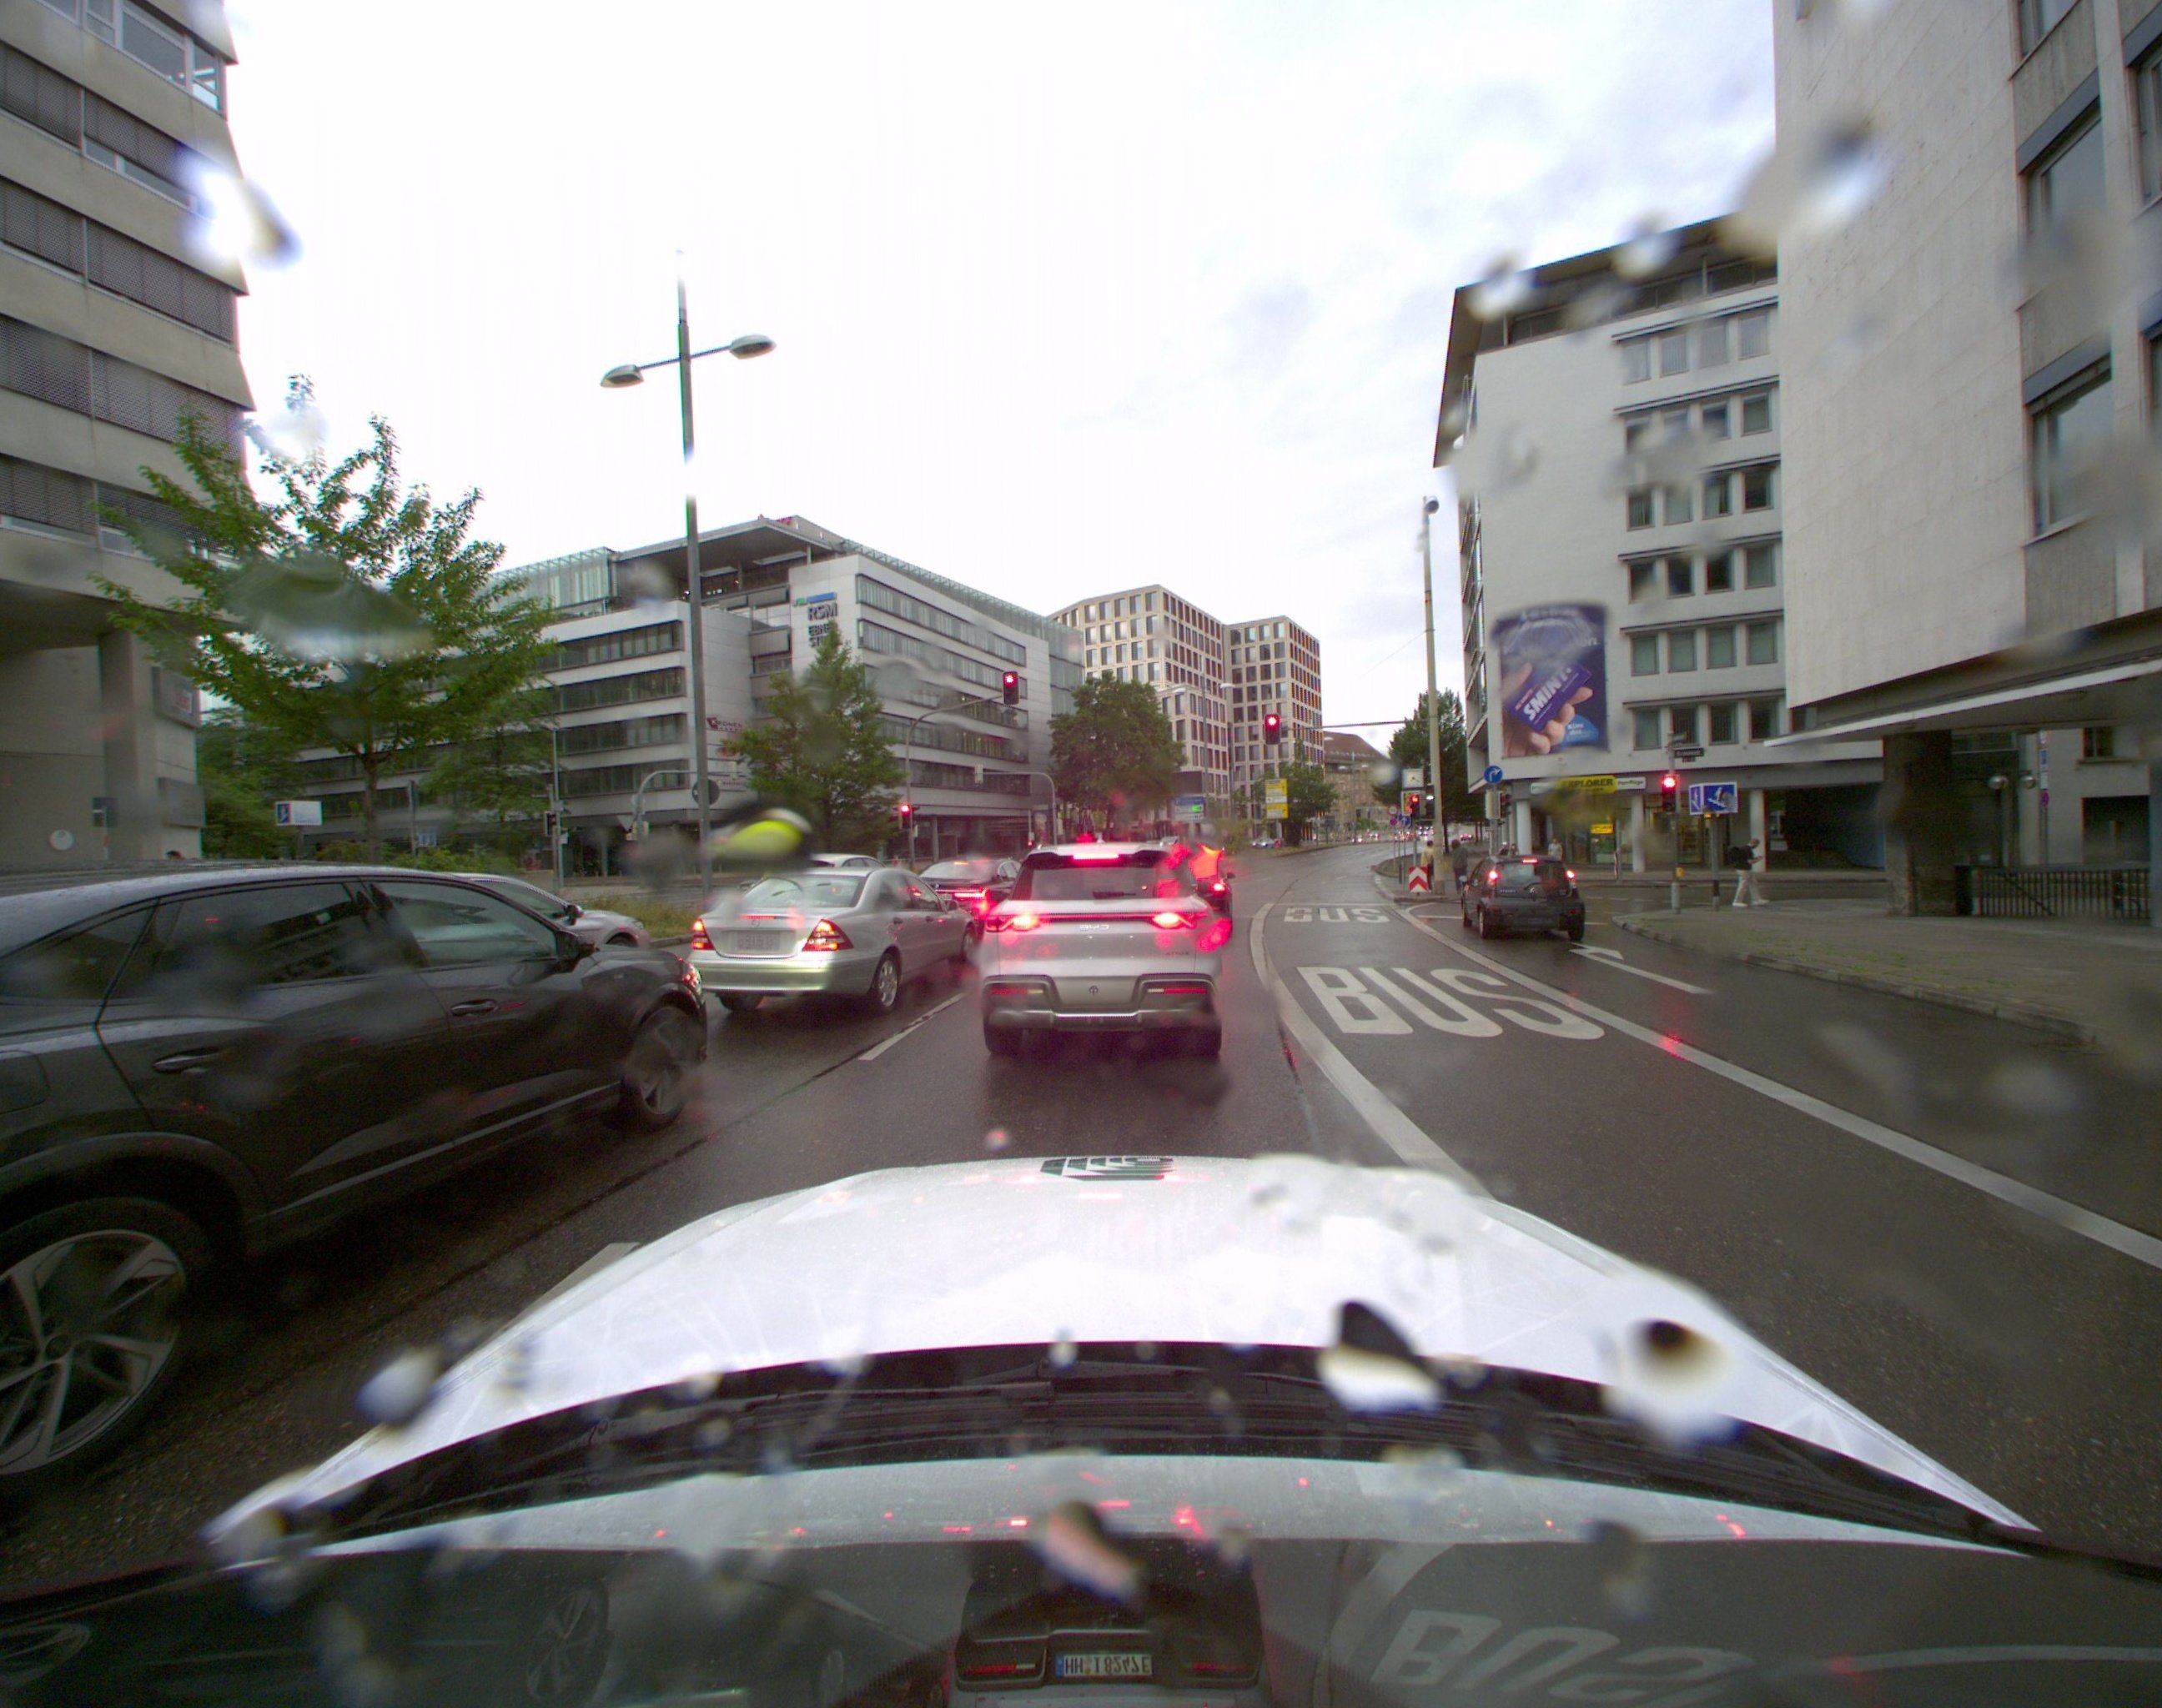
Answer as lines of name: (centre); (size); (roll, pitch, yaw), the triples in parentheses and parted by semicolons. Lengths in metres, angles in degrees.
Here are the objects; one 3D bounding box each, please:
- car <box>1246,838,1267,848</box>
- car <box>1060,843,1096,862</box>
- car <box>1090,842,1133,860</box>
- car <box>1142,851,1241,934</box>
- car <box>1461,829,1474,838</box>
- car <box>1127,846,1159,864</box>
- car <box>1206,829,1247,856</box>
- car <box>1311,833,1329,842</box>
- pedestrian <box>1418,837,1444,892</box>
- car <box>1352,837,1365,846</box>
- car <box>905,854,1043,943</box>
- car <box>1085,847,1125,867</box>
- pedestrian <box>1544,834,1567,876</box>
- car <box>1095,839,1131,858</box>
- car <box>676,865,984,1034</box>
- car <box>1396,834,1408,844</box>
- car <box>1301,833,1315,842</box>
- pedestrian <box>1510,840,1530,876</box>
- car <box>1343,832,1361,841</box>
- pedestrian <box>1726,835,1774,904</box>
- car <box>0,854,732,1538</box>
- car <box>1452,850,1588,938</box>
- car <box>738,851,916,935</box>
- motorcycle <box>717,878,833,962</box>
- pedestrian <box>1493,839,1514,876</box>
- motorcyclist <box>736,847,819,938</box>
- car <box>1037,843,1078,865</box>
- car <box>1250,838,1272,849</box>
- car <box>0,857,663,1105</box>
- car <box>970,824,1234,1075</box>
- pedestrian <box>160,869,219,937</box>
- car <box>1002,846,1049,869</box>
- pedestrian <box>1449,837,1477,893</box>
car: (26.392, -1.669, 122.624); (1.974, 1.488, 4.025); (-1, 1, 29)
car: (-0.196, -0.083, 69.553); (1.623, 1.571, 3.740); (-1, -1, 25)
car: (2.889, -0.283, 75.245); (1.796, 1.510, 5.228); (-1, 1, 29)
car: (2.378, 0.713, 16.700); (1.682, 1.486, 4.013); (-1, -1, 12)
car: (70.643, -3.698, 148.844); (1.677, 1.486, 4.025); (-1, -1, 32)
car: (6.242, 0.082, 81.290); (1.616, 1.559, 4.620); (-1, 1, 25)
car: (11.637, -0.875, 64.869); (1.975, 2.014, 4.876); (-1, -1, 25)
car: (57.511, -3.933, 195.772); (3.952, 2.013, 2.011); (-1, 0, 22)
pedestrian: (11.631, 0.338, 27.105); (0.742, 1.798, 0.821); (-1, 1, 22)
car: (50.132, -2.232, 147.105); (1.616, 1.437, 3.931); (-1, 1, 25)
car: (-1.913, 0.773, 15.743); (1.561, 1.486, 4.010); (-1, -1, 9)
car: (1.760, 0.238, 58.967); (1.675, 1.385, 3.888); (-1, -1, 21)
pedestrian: (20.565, 0.038, 35.268); (0.778, 1.794, 0.662); (-1, 0, -45)
car: (2.751, -0.465, 68.446); (1.629, 1.581, 4.109); (-1, 0, 23)
car: (-2.436, 0.841, 9.061); (1.561, 1.407, 4.120); (-1, -1, 10)
car: (58.439, -2.734, 148.123); (1.871, 1.643, 4.023); (-1, 0, 24)
car: (45.302, -3.325, 162.700); (1.590, 1.741, 3.467); (-1, -1, 34)
pedestrian: (19.393, 0.180, 35.965); (0.657, 1.543, 0.618); (-1, 0, -45)
car: (65.441, -4.243, 196.524); (3.952, 2.013, 2.011); (-1, 0, 22)
pedestrian: (17.124, 0.386, 20.853); (0.764, 1.731, 0.599); (-1, 0, 16)
car: (-3.207, 0.781, 3.225); (1.642, 1.521, 4.274); (-1, 0, 2)
car: (8.168, 0.671, 15.472); (1.558, 1.429, 4.018); (-1, -1, 18)
car: (-4.960, 0.709, 16.517); (1.696, 1.486, 4.013); (-1, -1, 11)
motorcycle: (-4.841, 1.004, 13.061); (0.795, 1.185, 2.034); (-1, -1, 11)
pedestrian: (18.924, 0.145, 36.490); (0.657, 1.655, 0.662); (-1, 0, -45)
motorcyclist: (-4.833, 0.595, 13.046); (0.765, 1.380, 1.121); (-1, -1, 11)
car: (-1.683, -0.011, 59.641); (1.630, 1.536, 4.172); (-1, 0, 19)
car: (25.568, -1.546, 115.583); (1.974, 1.488, 4.025); (-1, 1, 29)
car: (-6.159, 0.822, 7.597); (1.858, 1.533, 4.780); (-1, 0, 3)
car: (0.274, 0.659, 7.499); (1.768, 1.679, 4.004); (-1, -1, 4)
pedestrian: (-22.634, 1.224, 20.681); (0.672, 1.683, 0.766); (-1, 0, 15)
car: (-4.199, 0.257, 62.040); (1.976, 1.610, 4.022); (-1, 0, 22)
pedestrian: (12.410, 0.350, 26.458); (0.742, 1.798, 0.821); (-1, 1, 22)
